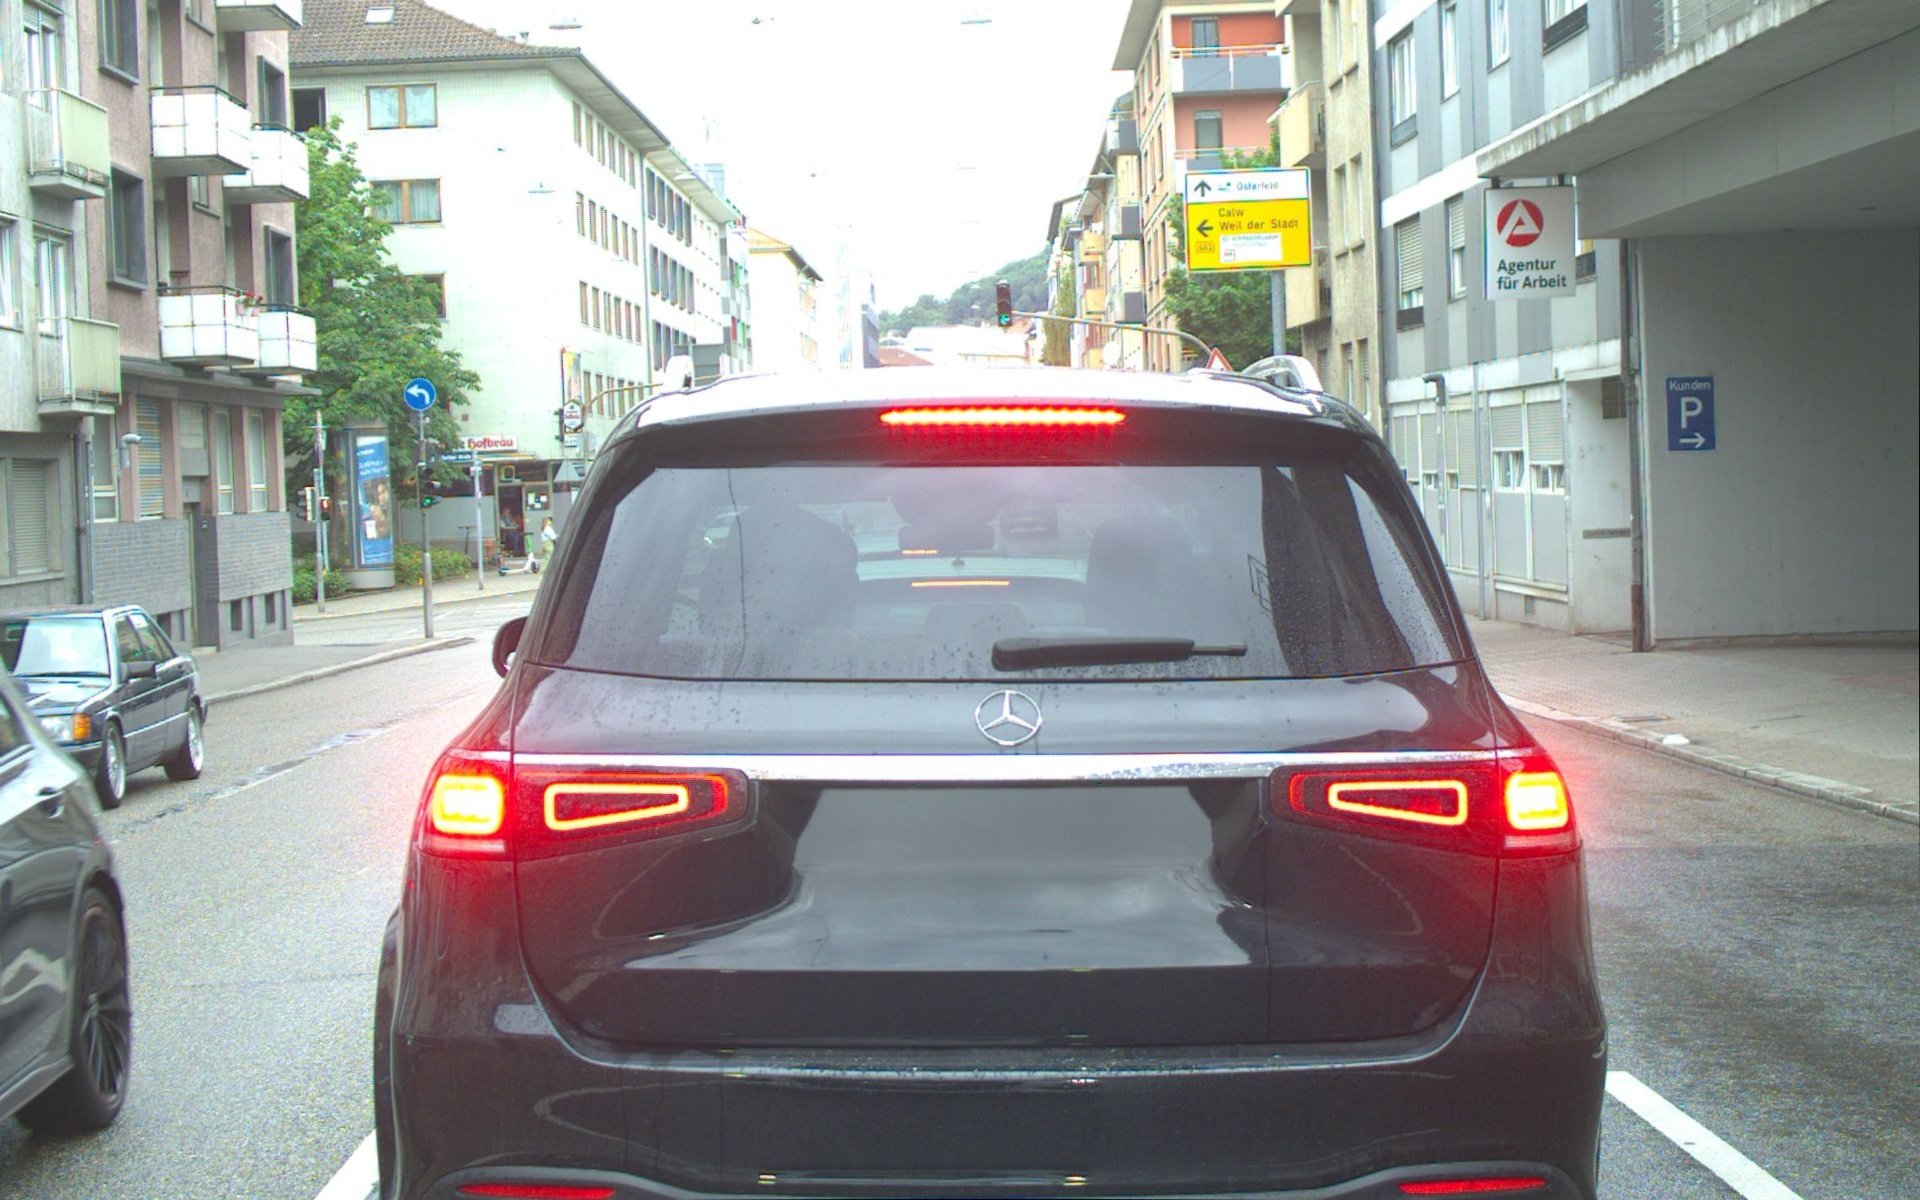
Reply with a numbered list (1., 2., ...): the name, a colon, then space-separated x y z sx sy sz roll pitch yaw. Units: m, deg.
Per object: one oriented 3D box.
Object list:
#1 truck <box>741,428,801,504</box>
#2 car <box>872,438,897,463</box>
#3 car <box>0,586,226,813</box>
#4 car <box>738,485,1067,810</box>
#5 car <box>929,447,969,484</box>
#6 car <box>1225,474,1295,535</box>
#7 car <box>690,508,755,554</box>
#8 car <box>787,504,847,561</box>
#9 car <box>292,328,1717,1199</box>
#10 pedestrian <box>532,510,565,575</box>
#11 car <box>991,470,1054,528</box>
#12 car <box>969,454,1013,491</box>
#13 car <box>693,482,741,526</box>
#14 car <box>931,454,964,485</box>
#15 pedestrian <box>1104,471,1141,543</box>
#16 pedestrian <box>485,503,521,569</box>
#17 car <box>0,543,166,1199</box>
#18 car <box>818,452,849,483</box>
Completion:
1. truck: -8.612 -6.083 157.006 2.479 3.035 9.921 -3 1 -3
2. car: -5.467 -10.853 250.012 1.618 1.534 4.218 -3 1 -3
3. car: -6.418 0.666 24.188 1.598 1.365 4.363 -4 1 -2
4. car: -0.415 0.241 20.835 1.751 1.725 4.218 -1 1 -3
5. car: -0.543 -6.329 161.695 1.618 1.534 4.218 -3 1 -3
6. car: 8.227 -2.629 94.608 1.671 1.583 3.330 -2 1 2
7. car: -7.434 -2.150 107.792 1.885 1.260 4.218 -3 1 -3
8. car: -4.226 -1.979 101.221 1.618 1.534 4.218 -3 1 -3
9. car: 0.035 0.509 7.022 1.985 1.799 4.390 1 1 -1
10. pedestrian: -11.223 -1.568 93.782 0.636 1.758 0.773 -2 1 11
11. car: 2.050 -3.336 114.323 1.723 1.754 4.218 -3 1 -3
12. car: 1.355 -5.552 150.257 1.618 1.382 4.218 -3 1 -3
13. car: -9.287 -3.666 131.593 1.618 1.534 4.218 -3 1 -3
14. car: -0.708 -7.285 192.135 1.618 1.534 4.218 -3 1 -3
15. pedestrian: 4.614 -2.647 97.702 0.923 2.007 0.706 -2 1 -2
16. pedestrian: -13.562 -1.897 101.976 0.923 1.895 0.706 -2 1 -2
17. car: -3.091 0.705 7.650 1.694 1.575 4.218 -4 0 -2
18. car: -7.145 -7.475 193.634 1.618 1.534 4.218 -3 1 -3
